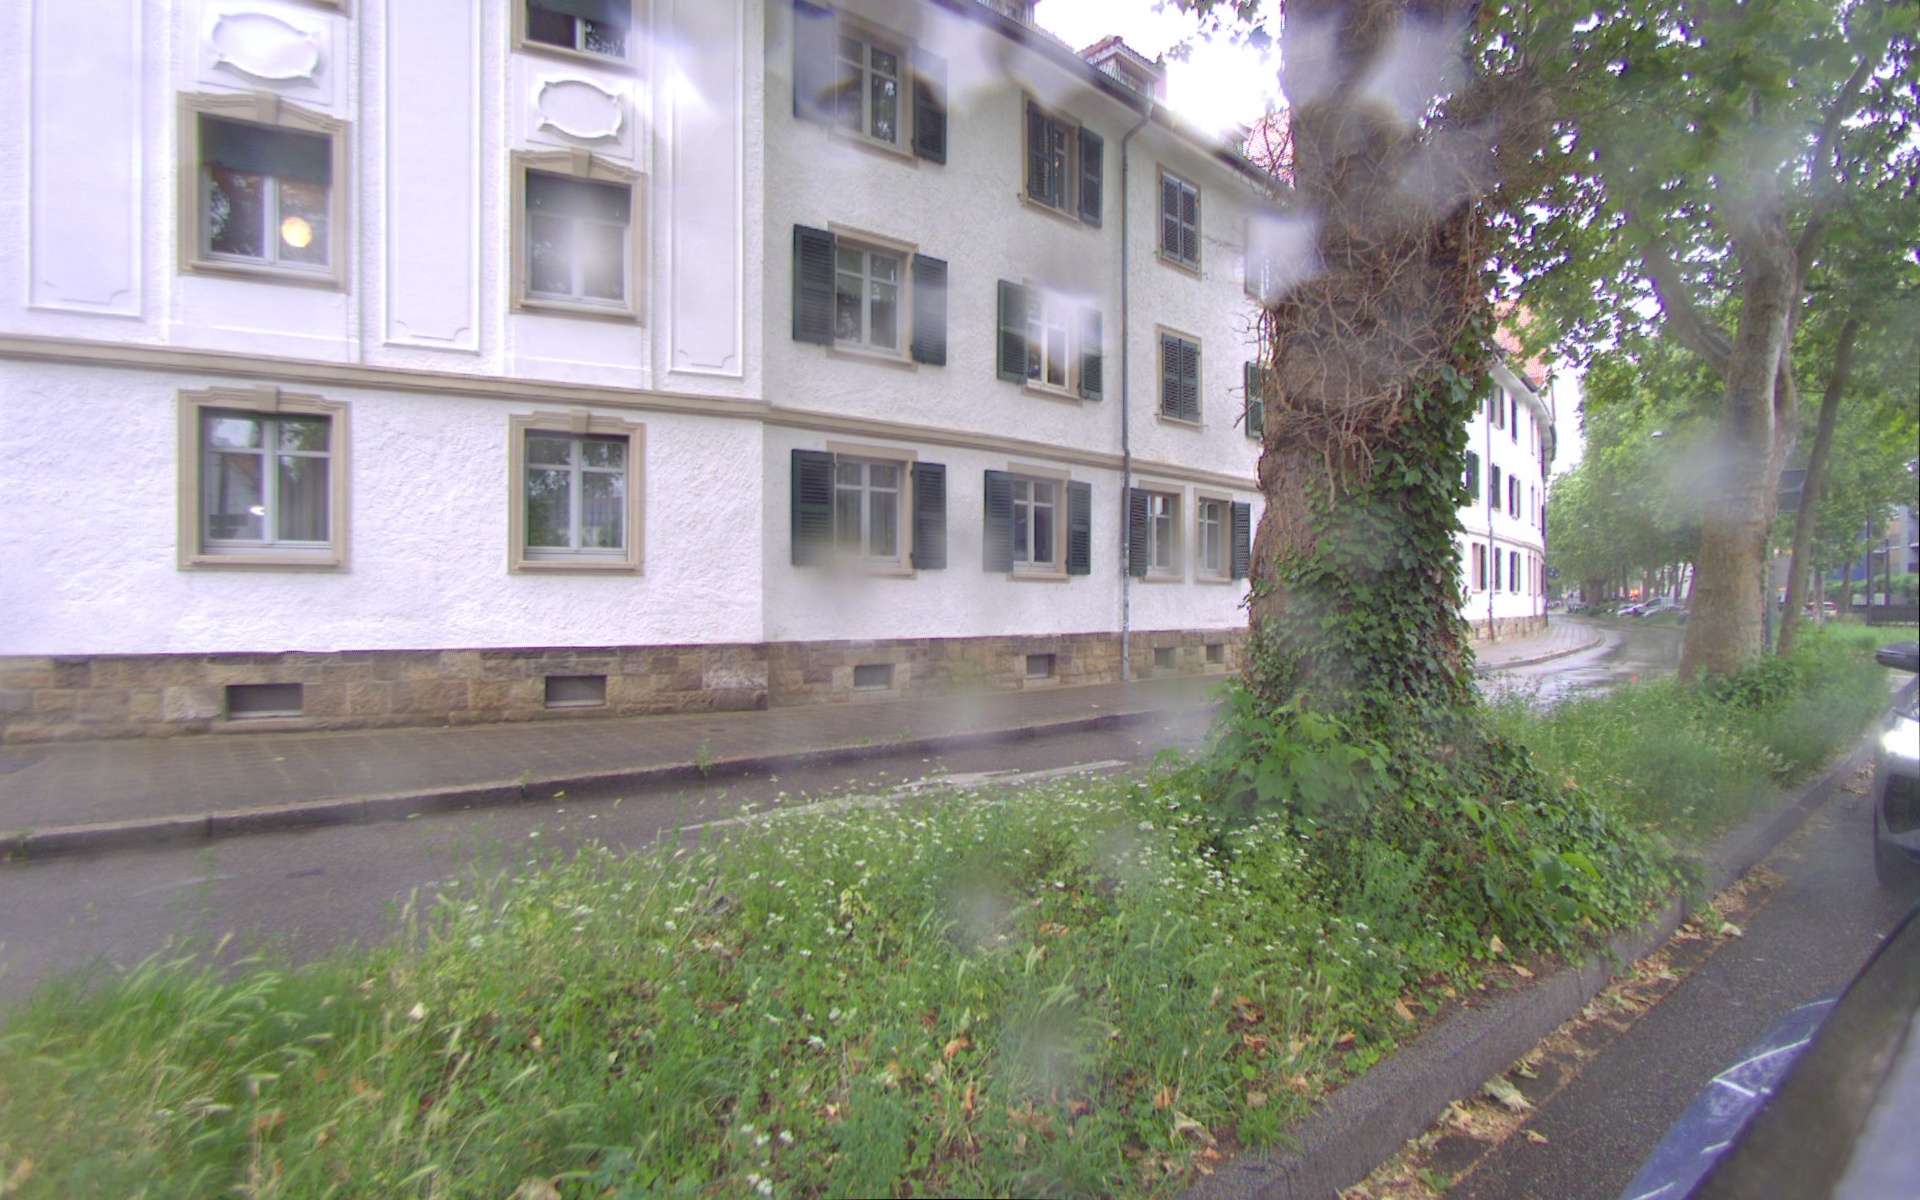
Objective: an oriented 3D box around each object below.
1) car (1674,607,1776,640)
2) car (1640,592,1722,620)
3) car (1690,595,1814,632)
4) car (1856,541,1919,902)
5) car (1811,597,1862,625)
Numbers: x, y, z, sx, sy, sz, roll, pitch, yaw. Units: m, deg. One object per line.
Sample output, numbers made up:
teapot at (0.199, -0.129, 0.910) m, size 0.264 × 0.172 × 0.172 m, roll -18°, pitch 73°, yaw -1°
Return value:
car at (43.589, 1.305, 57.751) m, size 1.715 × 1.632 × 4.335 m, roll 1°, pitch 1°, yaw -35°
car at (56.653, 0.426, 79.612) m, size 1.960 × 2.039 × 4.899 m, roll 1°, pitch 1°, yaw -30°
car at (37.863, 0.621, 48.490) m, size 1.892 × 1.560 × 4.236 m, roll 1°, pitch 1°, yaw -30°
car at (6.345, 0.552, 5.301) m, size 4.140 × 1.616 × 1.850 m, roll 0°, pitch 0°, yaw -39°
car at (57.754, 0.706, 66.744) m, size 1.677 × 1.745 × 3.656 m, roll 2°, pitch 1°, yaw 28°
